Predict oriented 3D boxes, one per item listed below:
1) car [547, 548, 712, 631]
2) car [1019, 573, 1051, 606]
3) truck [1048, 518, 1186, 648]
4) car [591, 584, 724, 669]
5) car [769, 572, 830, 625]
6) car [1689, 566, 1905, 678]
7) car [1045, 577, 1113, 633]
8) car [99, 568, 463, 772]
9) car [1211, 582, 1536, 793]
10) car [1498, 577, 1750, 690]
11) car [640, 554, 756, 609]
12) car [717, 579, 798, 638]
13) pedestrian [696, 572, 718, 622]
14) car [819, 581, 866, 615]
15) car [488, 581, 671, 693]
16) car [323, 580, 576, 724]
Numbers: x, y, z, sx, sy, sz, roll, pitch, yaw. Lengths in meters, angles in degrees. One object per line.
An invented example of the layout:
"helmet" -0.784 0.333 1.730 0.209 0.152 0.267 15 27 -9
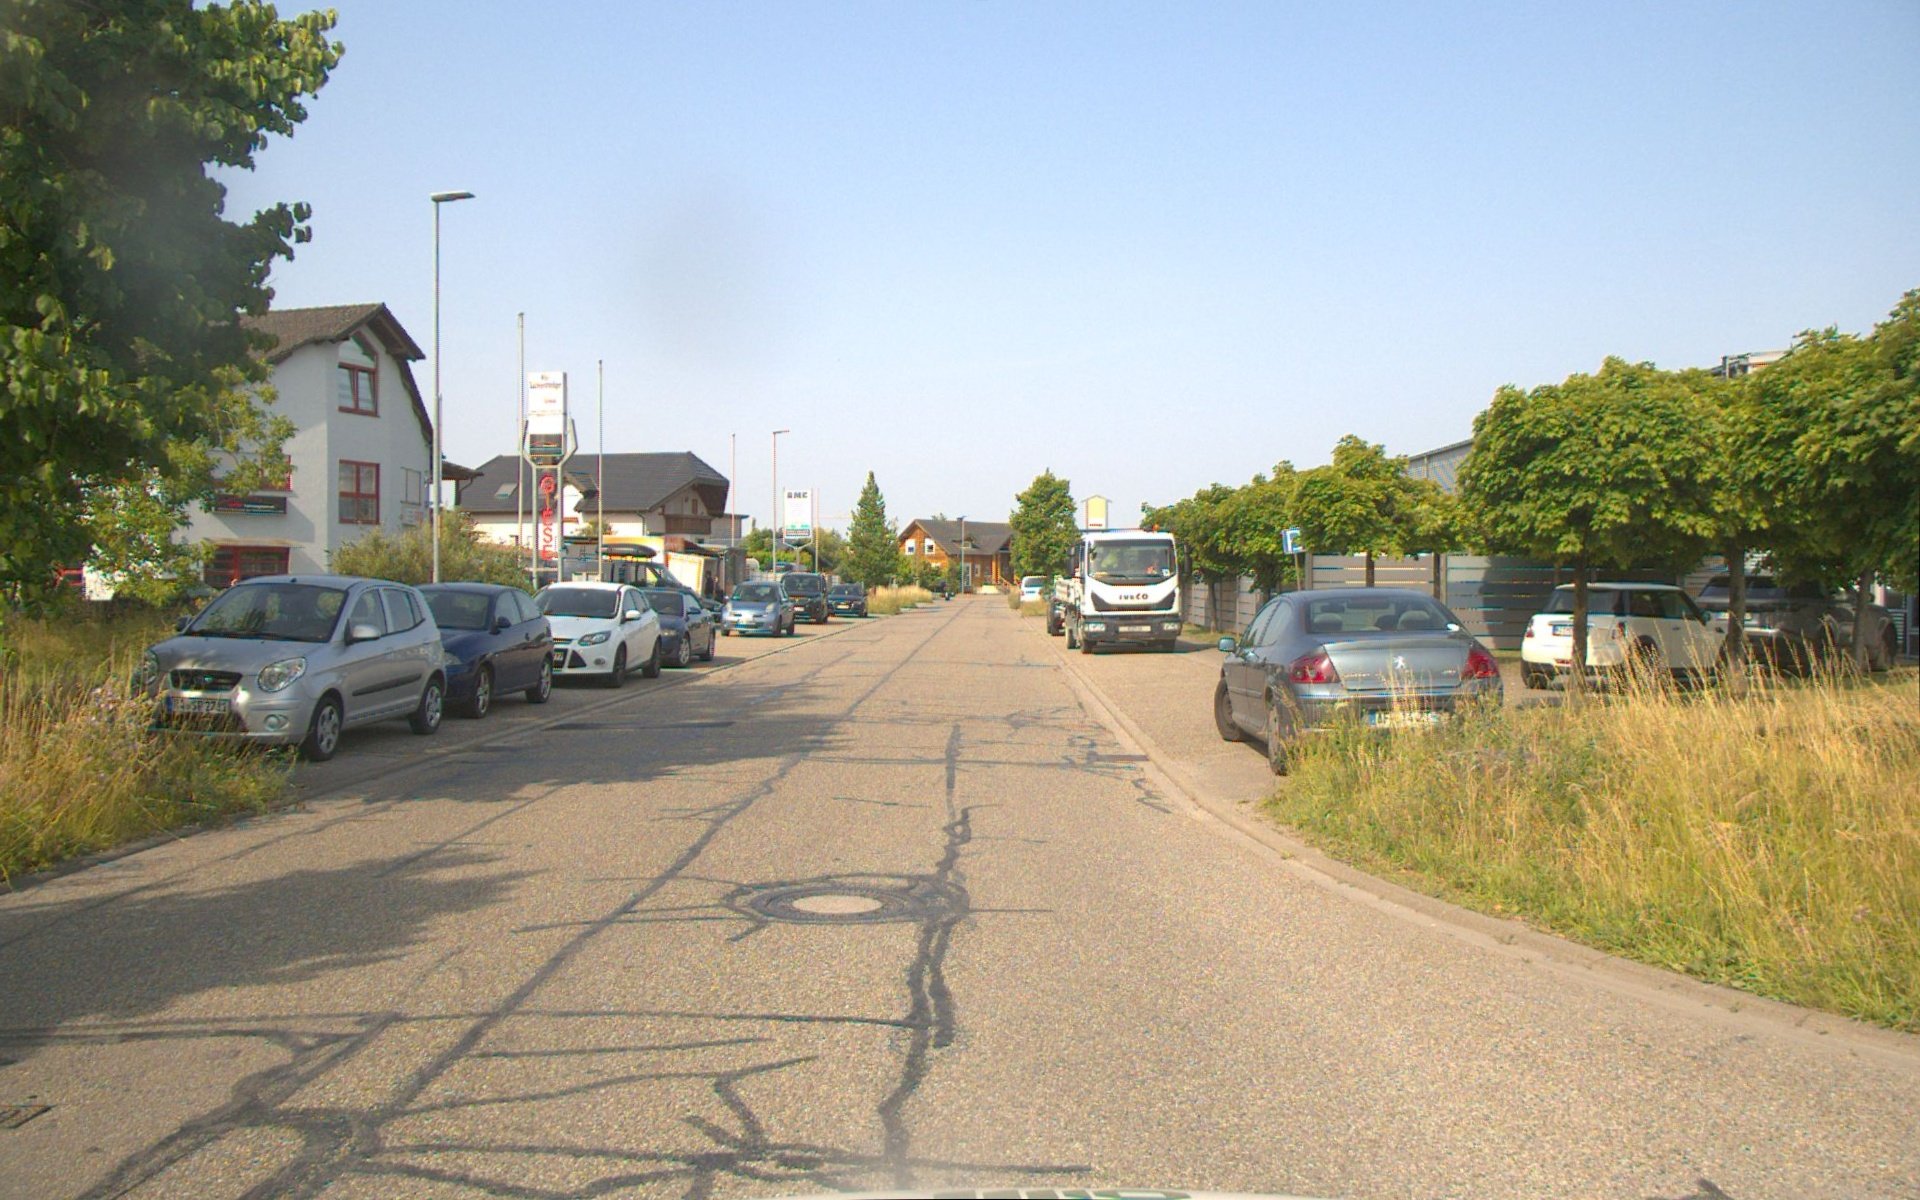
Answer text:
"car" -9.979 -0.325 50.158 4.530 2.459 2.001 0 0 3
"car" 4.536 -0.639 100.071 1.799 1.957 3.757 -1 1 1
"truck" 3.474 -0.381 38.026 2.312 2.728 6.508 0 1 -2
"car" -5.579 0.441 30.959 1.599 1.411 4.370 2 1 1
"car" -5.871 -0.084 60.887 1.763 1.805 4.203 2 1 0
"car" 13.217 0.301 26.000 4.498 1.616 1.660 0 1 -44
"car" 3.532 0.121 49.662 1.757 1.588 4.000 0 1 0
"car" -5.912 0.530 14.888 1.533 1.565 3.690 2 1 4
"car" 3.372 0.619 14.349 1.757 1.544 4.424 0 1 1
"car" 9.135 0.399 22.666 3.661 1.404 1.664 -1 1 -39
"car" -12.903 -0.898 81.560 5.051 2.631 2.577 -1 1 22
"car" -5.674 0.207 46.712 1.599 1.544 3.607 2 1 4
"pedestrian" -8.859 -0.106 57.927 0.557 1.745 0.527 -1 1 -37
"car" -5.219 -0.126 73.590 1.763 1.411 3.638 2 1 0
"car" -5.590 0.483 24.815 1.649 1.495 4.254 2 1 1
"car" -5.827 0.529 19.364 1.545 1.469 3.965 2 1 3
